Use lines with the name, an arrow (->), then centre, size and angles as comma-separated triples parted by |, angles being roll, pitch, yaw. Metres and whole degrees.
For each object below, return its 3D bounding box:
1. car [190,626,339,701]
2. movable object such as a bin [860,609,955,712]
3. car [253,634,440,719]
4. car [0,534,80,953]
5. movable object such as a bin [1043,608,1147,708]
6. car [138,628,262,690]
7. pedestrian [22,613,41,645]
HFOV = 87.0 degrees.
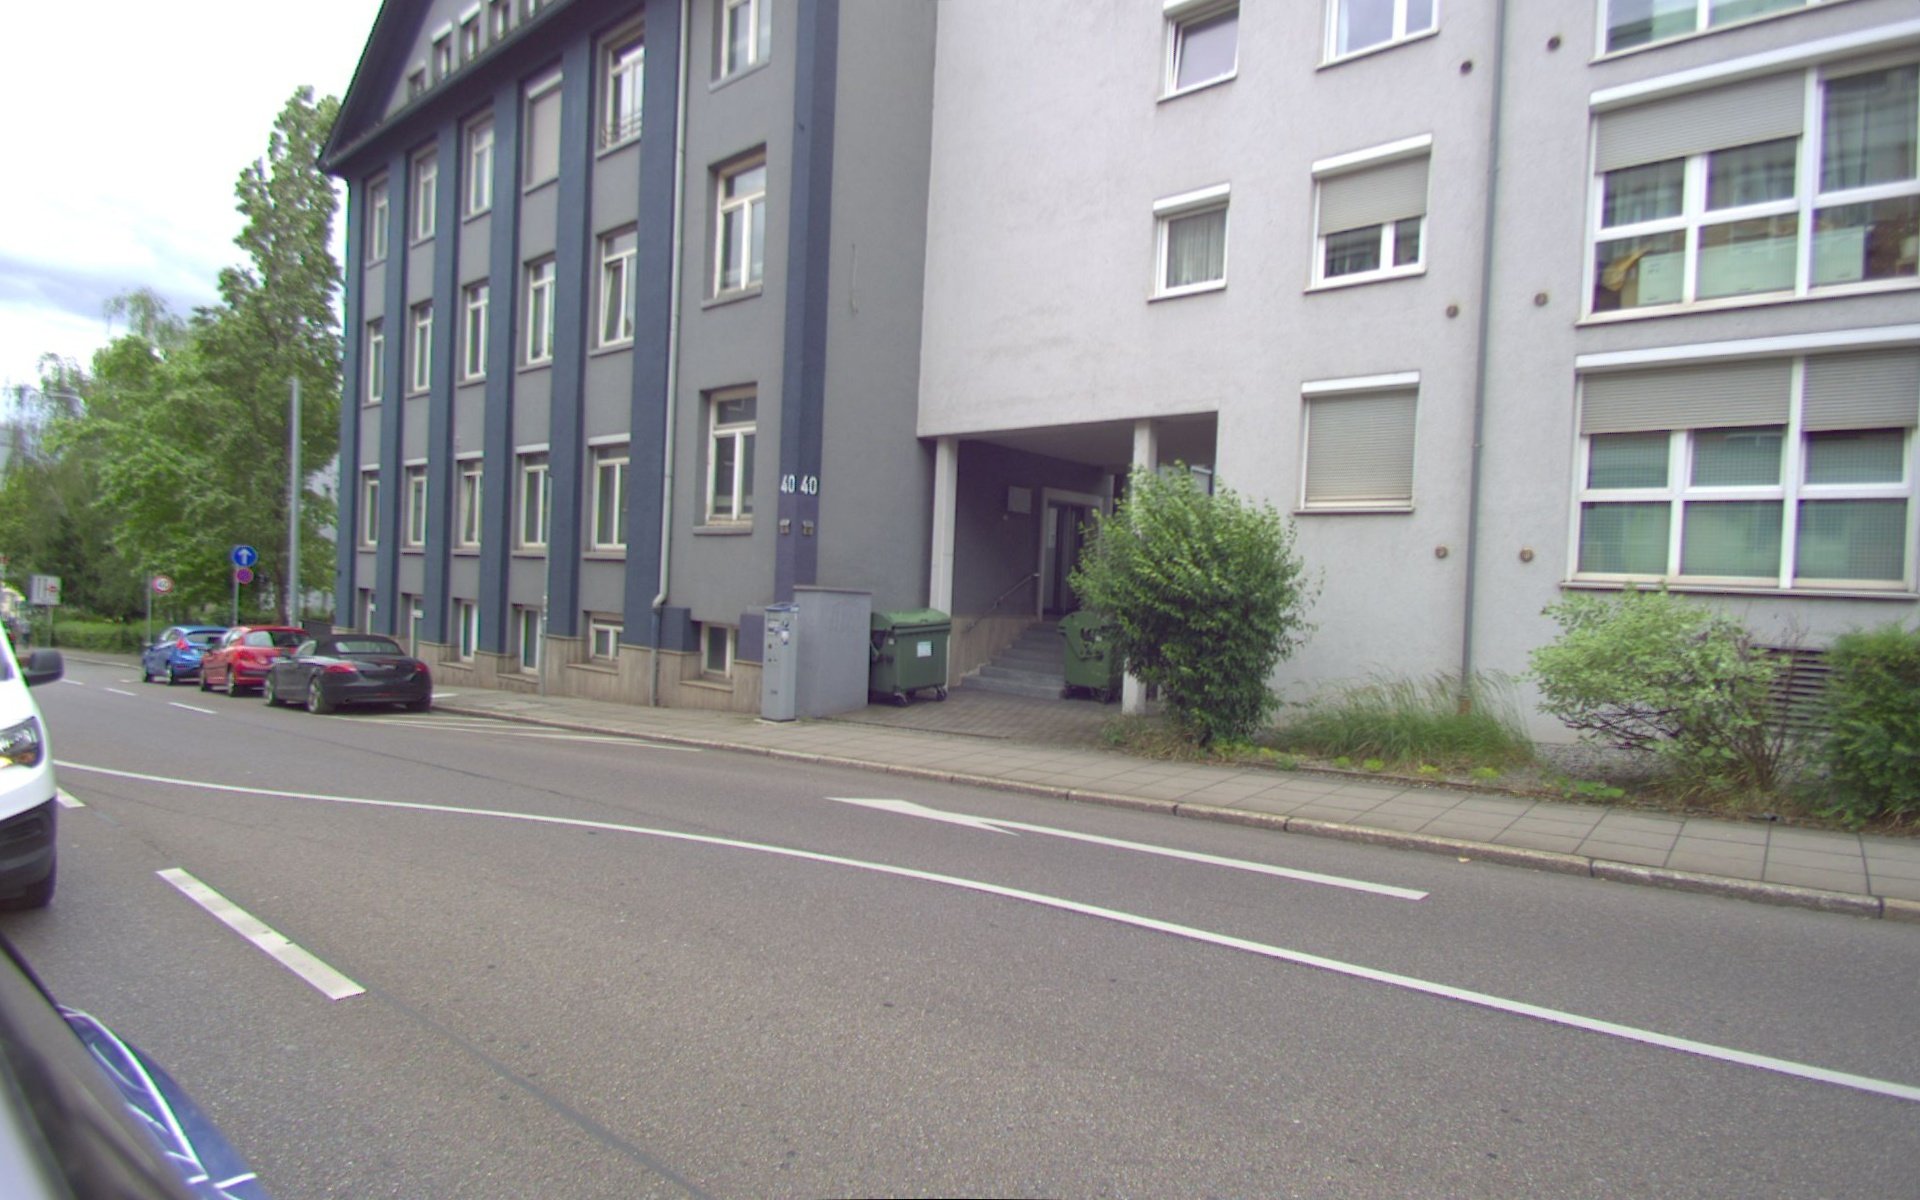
car -> -15.230, 1.349, 22.103 | 3.868, 1.485, 1.795 | -2, -4, 43
movable object such as a bin -> -0.801, 0.905, 15.693 | 0.784, 1.467, 1.251 | 0, 1, 44
car -> -11.042, 1.319, 18.101 | 4.040, 1.337, 1.701 | -1, -4, 42
car -> -6.450, 0.672, 5.553 | 4.937, 1.821, 1.816 | -1, 0, 42
movable object such as a bin -> 2.228, 0.925, 16.646 | 1.190, 1.489, 1.132 | 5, 2, 41
car -> -19.341, 1.452, 25.710 | 3.724, 1.465, 1.702 | -1, -3, 40
pedestrian -> -54.111, 1.692, 58.985 | 0.776, 1.864, 0.736 | -2, -1, 42
